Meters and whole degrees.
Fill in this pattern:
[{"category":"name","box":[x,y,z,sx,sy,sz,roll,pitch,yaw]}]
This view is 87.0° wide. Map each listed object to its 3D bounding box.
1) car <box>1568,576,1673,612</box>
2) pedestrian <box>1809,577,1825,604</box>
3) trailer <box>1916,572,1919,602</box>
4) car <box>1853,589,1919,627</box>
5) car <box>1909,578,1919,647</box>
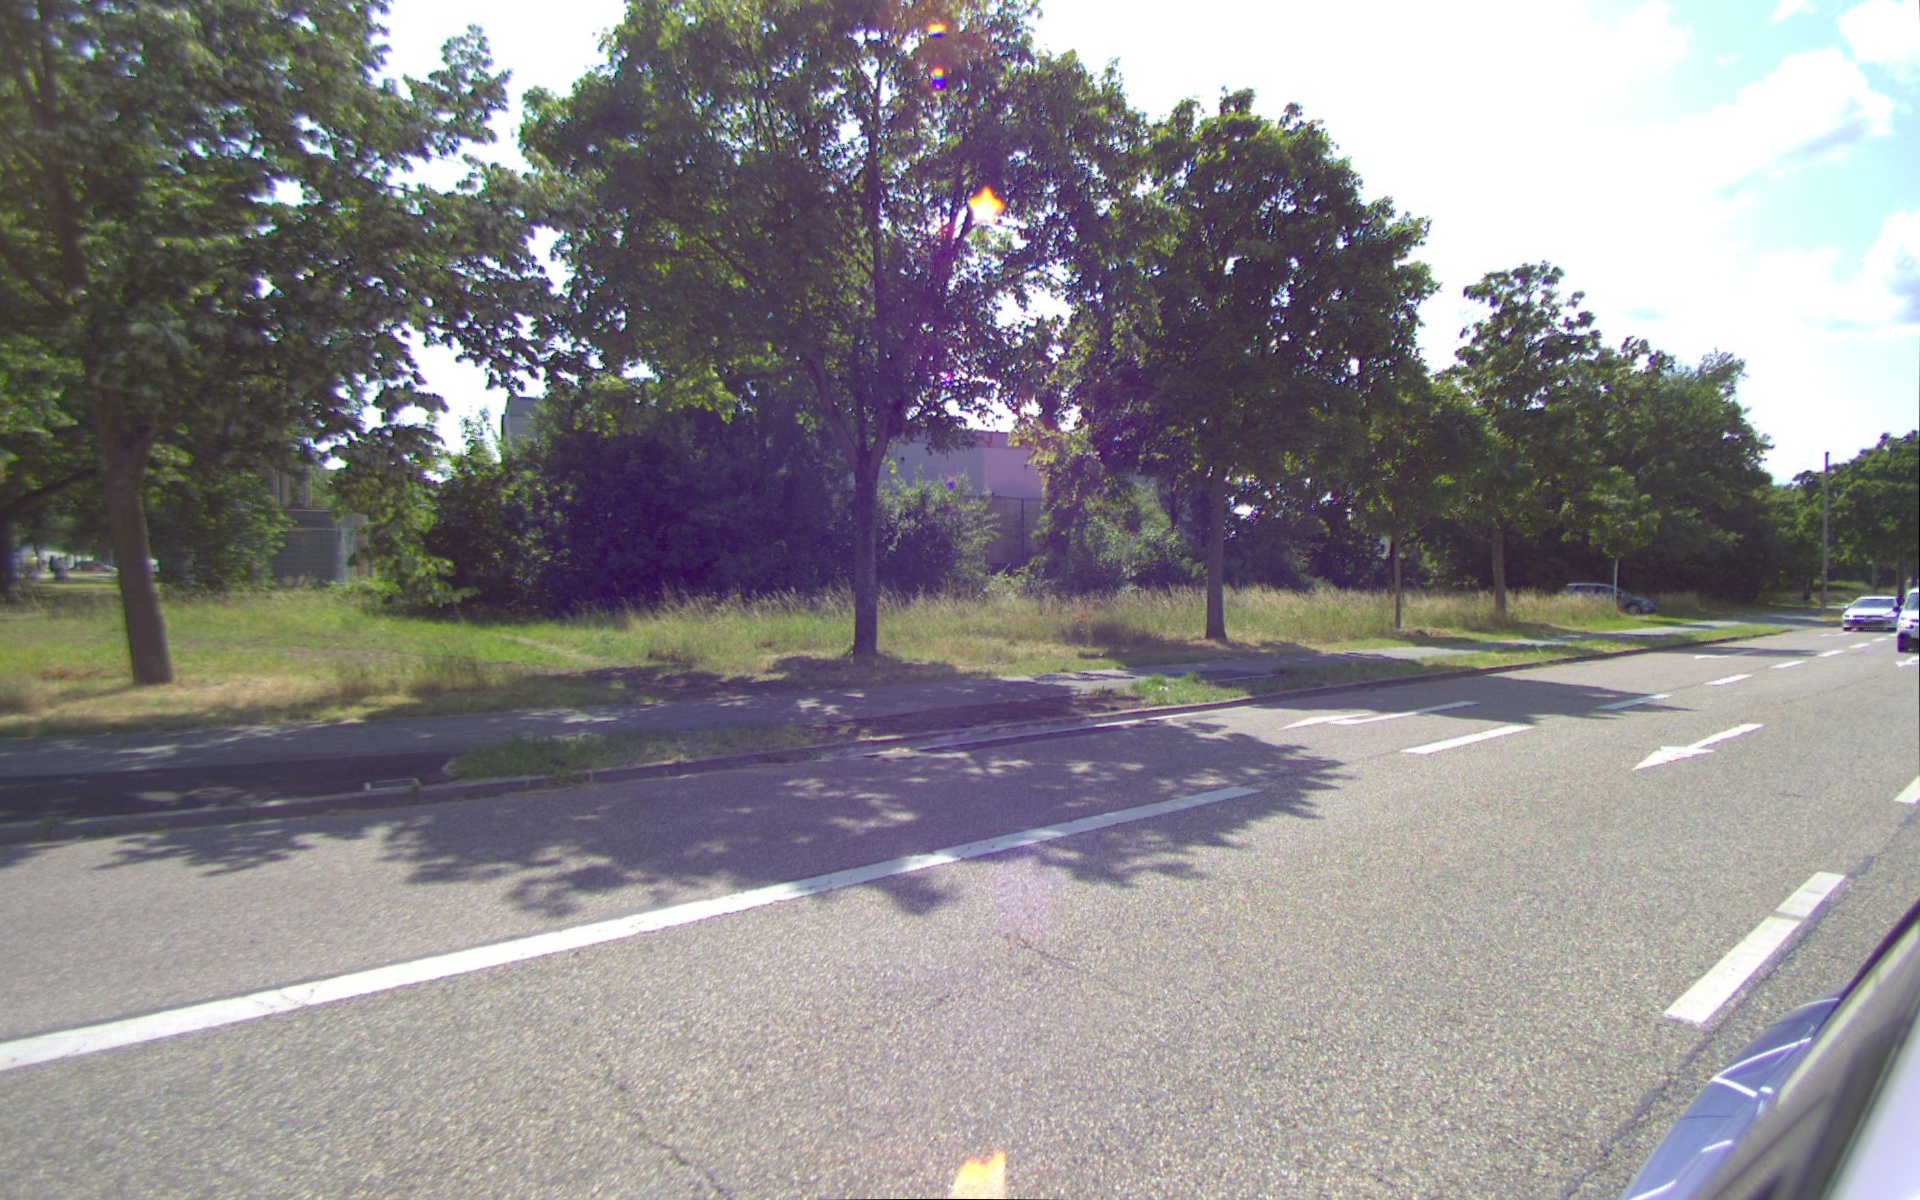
[{"category":"car","box":[33.670,-0.312,51.656,4.165,1.511,1.756,5,3,44]},{"category":"pedestrian","box":[58.787,-0.653,69.404,0.728,1.816,0.717,-1,0,-43]},{"category":"trailer","box":[80.289,-1.074,83.372,4.531,2.380,1.954,-2,3,-45]},{"category":"car","box":[38.626,0.297,42.047,4.020,1.504,1.736,0,1,-40]},{"category":"car","box":[27.332,0.299,27.435,4.634,1.808,1.933,0,-1,-42]}]
